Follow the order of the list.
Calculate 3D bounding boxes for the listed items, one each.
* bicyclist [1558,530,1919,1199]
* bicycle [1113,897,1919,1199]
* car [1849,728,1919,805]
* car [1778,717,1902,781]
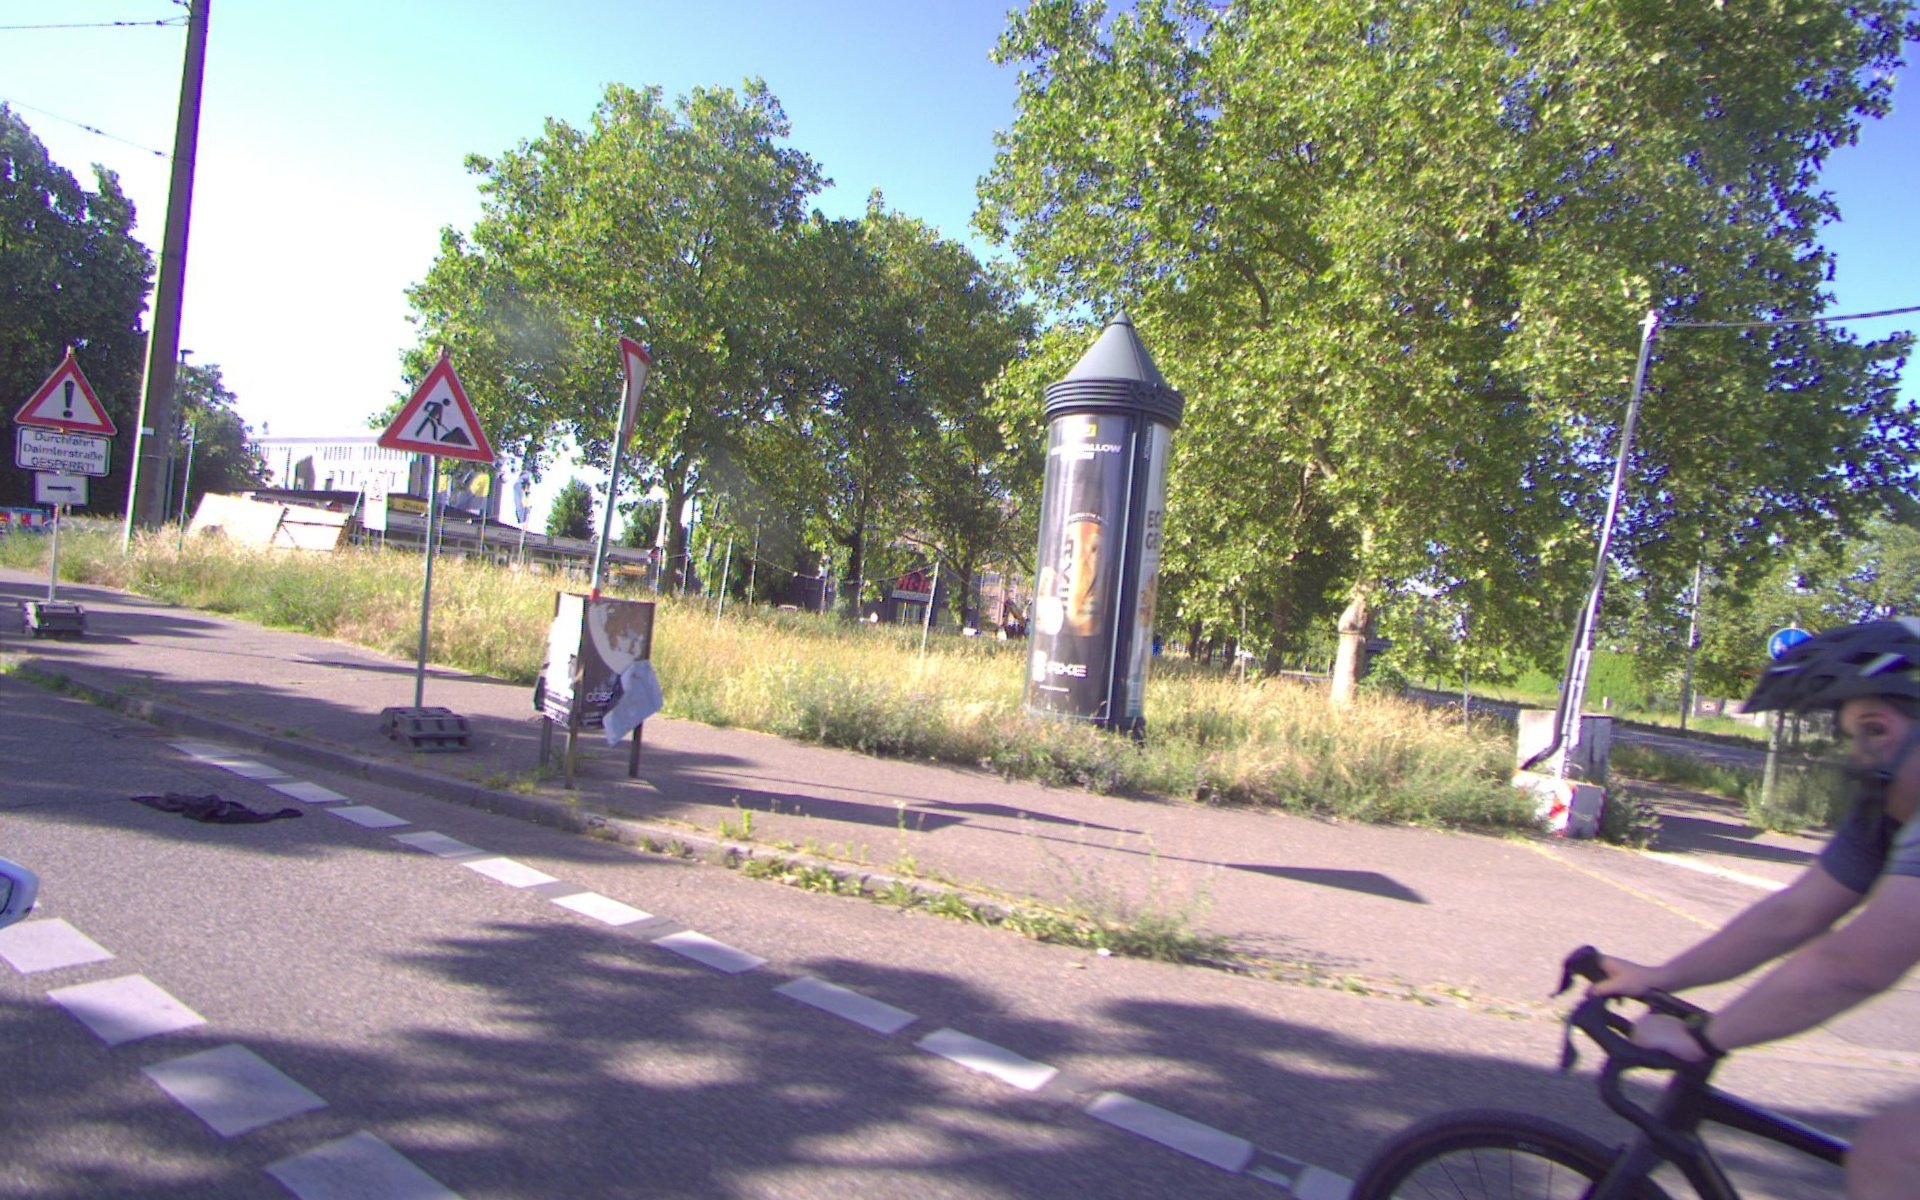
[{"bbox_3d":[1.528,0.793,1.604,0.918,1.700,0.615,6,0,33],"label":"bicyclist"},{"bbox_3d":[1.331,1.295,1.822,2.056,0.934,0.524,5,0,34],"label":"bicycle"},{"bbox_3d":[24.125,4.169,23.984,1.872,1.701,4.783,6,-2,6],"label":"car"},{"bbox_3d":[28.531,4.789,32.722,1.346,1.636,3.211,3,-1,5],"label":"car"}]
